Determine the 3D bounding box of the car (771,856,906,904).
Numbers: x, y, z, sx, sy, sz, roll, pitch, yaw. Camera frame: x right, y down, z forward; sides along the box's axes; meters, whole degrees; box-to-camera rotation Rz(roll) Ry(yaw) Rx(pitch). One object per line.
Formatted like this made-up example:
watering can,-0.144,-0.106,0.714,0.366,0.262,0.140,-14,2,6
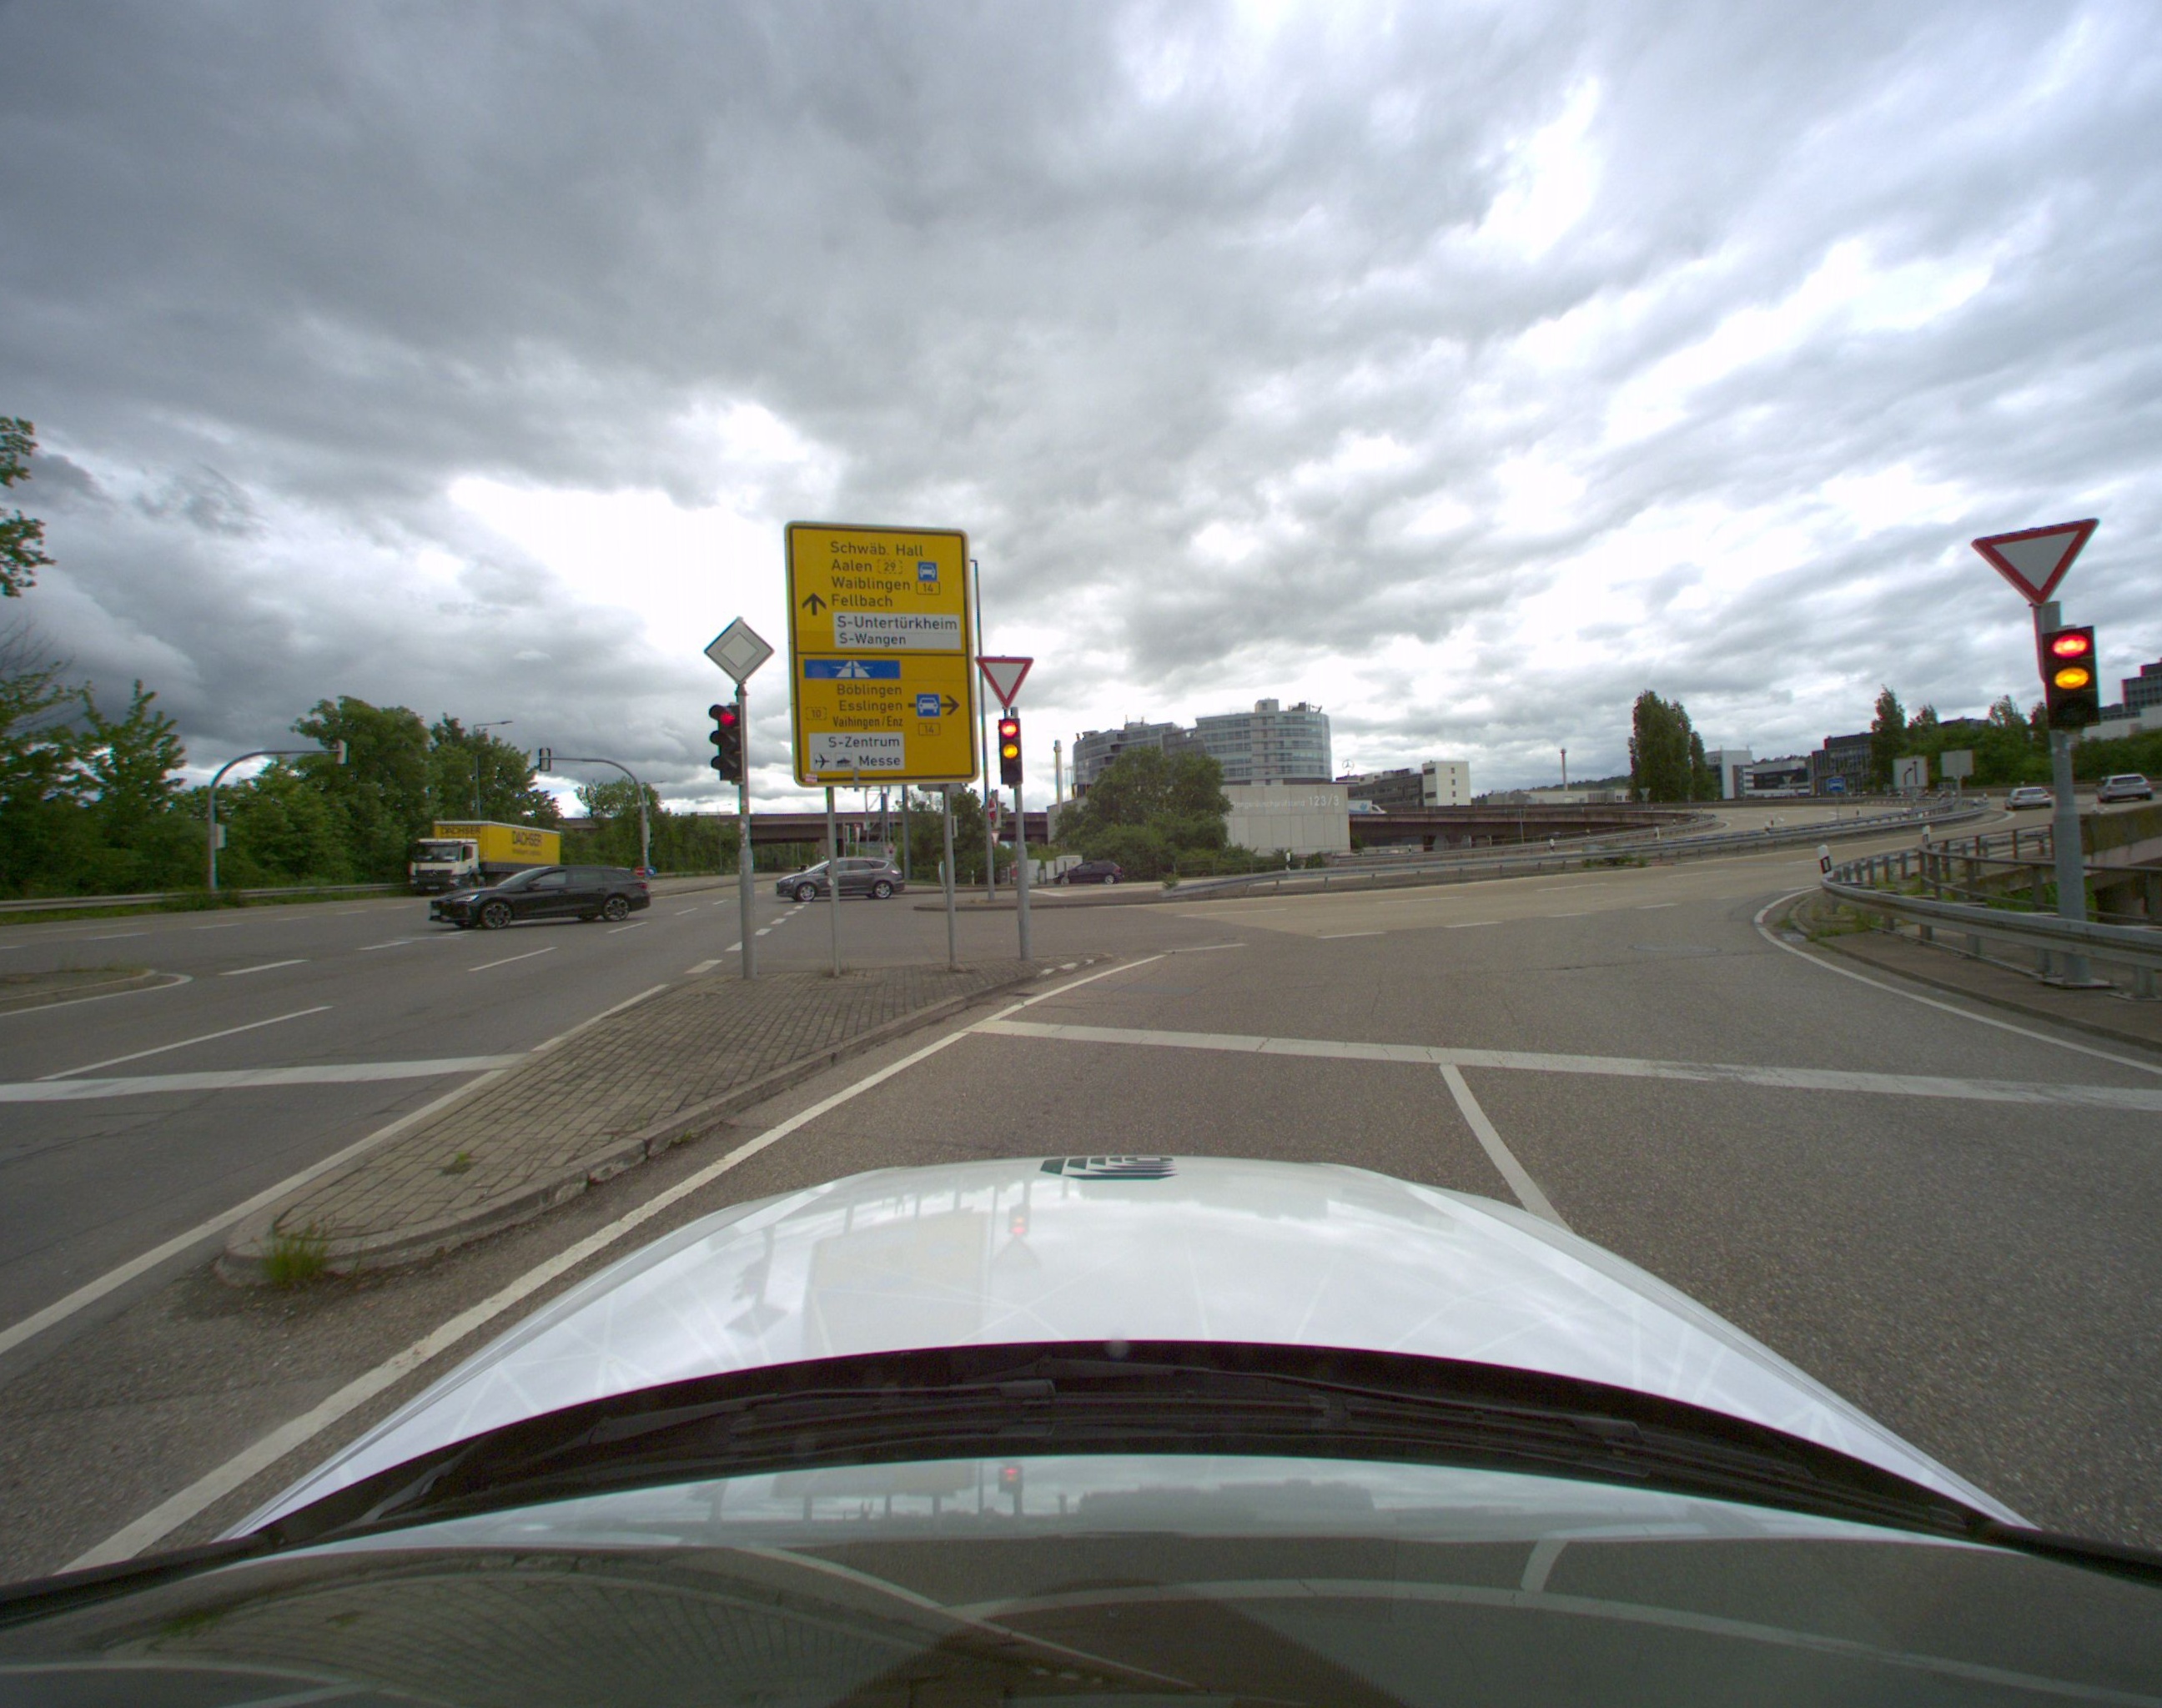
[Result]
car,-9.318,0.943,31.388,4.705,1.571,1.938,-2,1,-28

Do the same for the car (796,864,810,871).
car,-57.662,2.795,168.955,1.862,1.383,3.857,2,1,-9

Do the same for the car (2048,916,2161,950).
car,54.890,4.185,43.552,1.832,1.354,3.827,-3,1,-29

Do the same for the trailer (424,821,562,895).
trailer,-36.288,0.225,50.961,2.876,4.084,11.371,1,0,-14

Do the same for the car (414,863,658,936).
car,-13.419,1.019,20.343,1.930,1.457,4.650,-1,1,36

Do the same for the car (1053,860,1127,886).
car,0.555,1.090,46.852,3.956,1.421,1.921,0,0,10

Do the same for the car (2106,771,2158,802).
car,65.251,-4.155,50.614,4.580,1.737,1.709,-2,0,-41

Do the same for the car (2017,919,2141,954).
car,52.191,4.270,42.661,1.832,1.354,3.827,-3,1,-29

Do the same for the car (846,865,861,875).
car,-35.688,2.479,127.814,1.996,1.442,4.090,0,-2,-14

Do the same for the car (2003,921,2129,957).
car,50.305,4.316,41.681,1.832,1.354,3.827,-3,1,-29

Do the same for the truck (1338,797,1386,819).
truck,45.822,-7.410,132.775,7.259,3.269,2.343,-1,0,25

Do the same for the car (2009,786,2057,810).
car,63.876,-3.752,54.678,1.708,1.400,4.090,-2,0,45

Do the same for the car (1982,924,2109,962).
car,48.149,4.405,40.729,1.832,1.354,3.827,-3,1,-29

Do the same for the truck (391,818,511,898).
truck,-34.931,0.216,45.469,2.876,4.084,6.456,1,0,-14

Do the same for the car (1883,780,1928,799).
car,87.080,-6.809,86.066,1.709,1.461,4.267,-4,-2,23

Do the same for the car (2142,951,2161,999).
car,41.557,4.467,30.216,4.006,1.534,1.812,-3,1,-25
